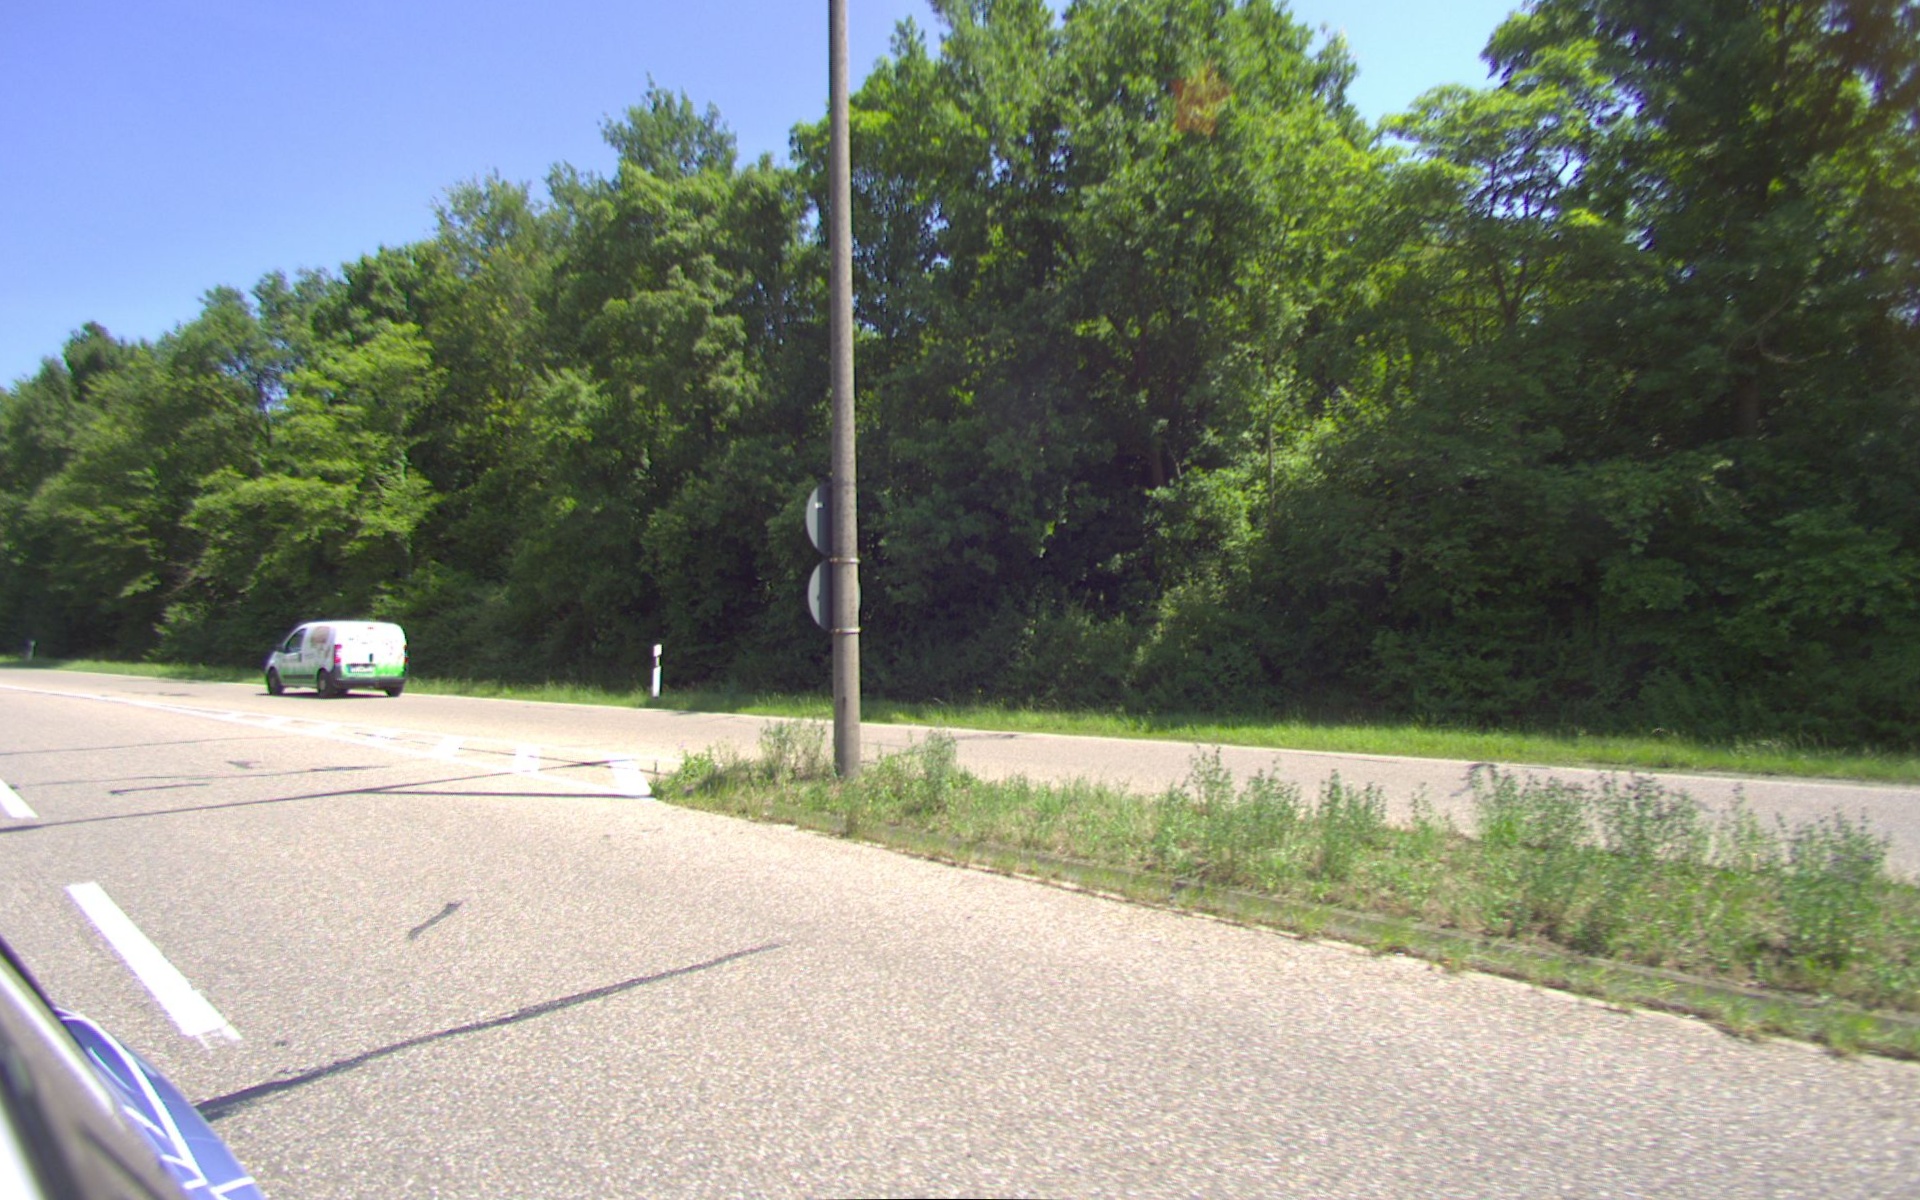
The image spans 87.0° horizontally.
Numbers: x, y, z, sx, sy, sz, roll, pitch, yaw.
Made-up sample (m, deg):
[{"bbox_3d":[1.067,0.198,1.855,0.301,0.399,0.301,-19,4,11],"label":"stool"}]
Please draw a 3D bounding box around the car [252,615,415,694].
[{"bbox_3d":[-14.628,1.256,23.578,4.085,1.701,1.717,-2,-4,35],"label":"car"}]
